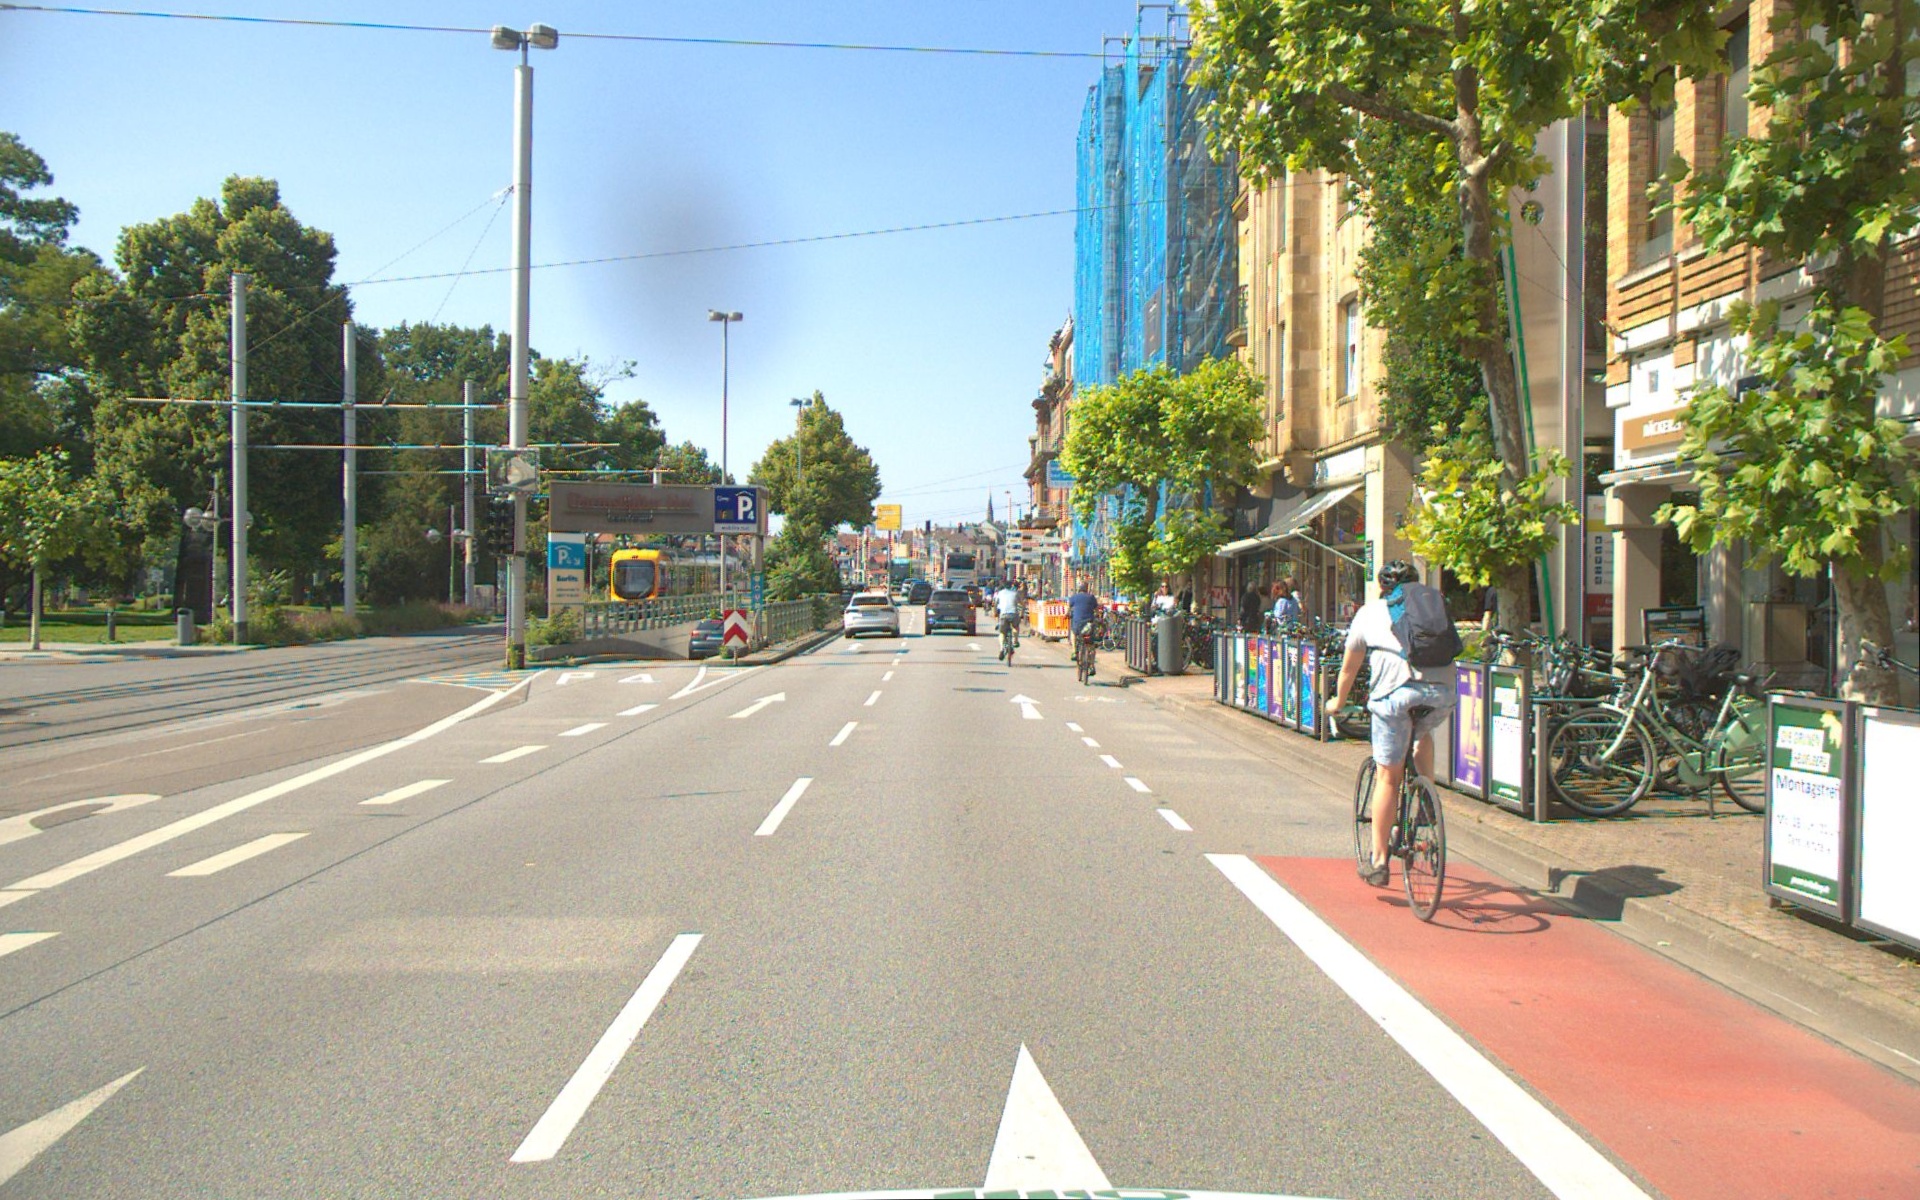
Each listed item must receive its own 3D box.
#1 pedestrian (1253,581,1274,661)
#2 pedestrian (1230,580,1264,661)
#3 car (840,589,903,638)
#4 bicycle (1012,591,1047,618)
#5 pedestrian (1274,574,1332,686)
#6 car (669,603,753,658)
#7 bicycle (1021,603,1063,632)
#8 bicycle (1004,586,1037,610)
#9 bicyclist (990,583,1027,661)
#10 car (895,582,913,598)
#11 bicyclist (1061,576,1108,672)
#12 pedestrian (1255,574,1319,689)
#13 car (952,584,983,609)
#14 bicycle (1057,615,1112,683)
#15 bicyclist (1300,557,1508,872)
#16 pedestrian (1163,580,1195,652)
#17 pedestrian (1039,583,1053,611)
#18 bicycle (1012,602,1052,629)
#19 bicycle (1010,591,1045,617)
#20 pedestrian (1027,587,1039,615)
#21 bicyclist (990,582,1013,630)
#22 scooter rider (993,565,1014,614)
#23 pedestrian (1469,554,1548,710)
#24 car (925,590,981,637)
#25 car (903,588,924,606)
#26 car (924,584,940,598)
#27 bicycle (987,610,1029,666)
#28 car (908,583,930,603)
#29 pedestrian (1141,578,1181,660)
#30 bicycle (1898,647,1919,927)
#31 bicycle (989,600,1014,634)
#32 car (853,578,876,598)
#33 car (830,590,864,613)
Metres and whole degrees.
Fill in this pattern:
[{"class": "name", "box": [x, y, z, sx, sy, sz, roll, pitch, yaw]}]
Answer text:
[{"class": "pedestrian", "box": [6.596, 0.457, 35.960, 0.372, 1.712, 0.477, -1, 0, 17]}, {"class": "pedestrian", "box": [6.204, 0.445, 35.748, 0.490, 1.712, 0.534, -1, -1, -19]}, {"class": "car", "box": [-2.890, 0.431, 54.780, 1.820, 1.533, 4.000, -1, 0, 0]}, {"class": "bicycle", "box": [3.311, 0.210, 78.888, 1.659, 1.262, 0.608, 1, 0, -1]}, {"class": "pedestrian", "box": [5.185, 0.448, 25.034, 0.589, 1.654, 0.641, -2, 0, -15]}, {"class": "car", "box": [-7.729, 0.915, 51.630, 1.953, 1.534, 4.000, 2, 0, 0]}, {"class": "bicycle", "box": [3.360, 0.719, 67.593, 1.659, 1.116, 0.608, 1, 0, -1]}, {"class": "bicycle", "box": [3.078, -0.083, 84.243, 1.659, 1.199, 0.608, -1, 1, -1]}, {"class": "bicyclist", "box": [1.023, 0.452, 35.030, 0.674, 1.604, 1.049, 2, 0, -3]}, {"class": "car", "box": [-4.975, -0.889, 147.654, 1.422, 1.323, 4.000, 2, 0, 0]}, {"class": "bicyclist", "box": [2.187, 0.422, 29.182, 0.674, 1.644, 0.918, 2, 0, -2]}, {"class": "pedestrian", "box": [4.847, 0.459, 24.515, 0.683, 1.654, 0.700, -1, 0, -13]}, {"class": "car", "box": [0.466, -0.244, 108.052, 1.953, 1.518, 4.000, 2, 0, 0]}, {"class": "bicycle", "box": [2.172, 0.846, 29.153, 0.719, 1.112, 1.910, 2, 0, -2]}, {"class": "bicyclist", "box": [2.245, 0.547, 8.492, 0.674, 1.488, 1.142, 2, 0, -3]}, {"class": "pedestrian", "box": [5.797, 0.422, 43.851, 0.797, 1.881, 0.892, -1, 0, 6]}, {"class": "pedestrian", "box": [5.317, -0.164, 102.121, 0.740, 1.684, 0.837, -3, 0, -2]}, {"class": "bicycle", "box": [3.245, 0.693, 74.656, 1.735, 1.199, 0.608, 1, 0, -1]}, {"class": "bicycle", "box": [3.274, 0.202, 80.337, 1.659, 1.199, 0.490, 1, 0, -1]}, {"class": "pedestrian", "box": [4.331, 0.077, 98.092, 0.641, 1.649, 0.815, -1, 1, -3]}, {"class": "bicyclist", "box": [1.427, 0.193, 56.552, 0.674, 1.604, 1.049, 2, 0, -3]}, {"class": "scooter rider", "box": [1.589, -0.375, 60.075, 0.674, 1.759, 0.778, 2, 0, -2]}, {"class": "pedestrian", "box": [6.547, 0.375, 19.768, 0.654, 1.812, 0.985, 0, 0, 3]}, {"class": "car", "box": [-0.232, 0.449, 57.242, 1.835, 1.518, 4.000, 2, 0, 0]}, {"class": "car", "box": [-3.519, -0.245, 125.232, 1.423, 1.323, 3.340, 2, 0, -3]}, {"class": "car", "box": [-2.767, -0.862, 165.208, 1.423, 1.323, 3.340, 2, 0, -3]}, {"class": "bicycle", "box": [1.012, 0.787, 35.065, 0.719, 1.112, 1.897, 2, 0, -2]}, {"class": "car", "box": [-2.868, -0.518, 115.345, 1.423, 1.323, 3.340, 2, 0, -3]}, {"class": "pedestrian", "box": [4.263, 0.404, 35.076, 0.645, 1.712, 0.651, 0, -1, -14]}, {"class": "bicycle", "box": [4.893, 0.795, 6.899, 1.717, 1.167, 0.482, 1, 0, -3]}, {"class": "bicycle", "box": [1.419, 0.561, 56.546, 0.719, 1.112, 1.897, 2, 0, -1]}, {"class": "car", "box": [-7.001, -0.870, 121.253, 1.422, 1.323, 4.000, 2, 0, 0]}, {"class": "car", "box": [-7.084, 0.067, 103.782, 1.778, 1.355, 4.000, 2, 0, 0]}]
